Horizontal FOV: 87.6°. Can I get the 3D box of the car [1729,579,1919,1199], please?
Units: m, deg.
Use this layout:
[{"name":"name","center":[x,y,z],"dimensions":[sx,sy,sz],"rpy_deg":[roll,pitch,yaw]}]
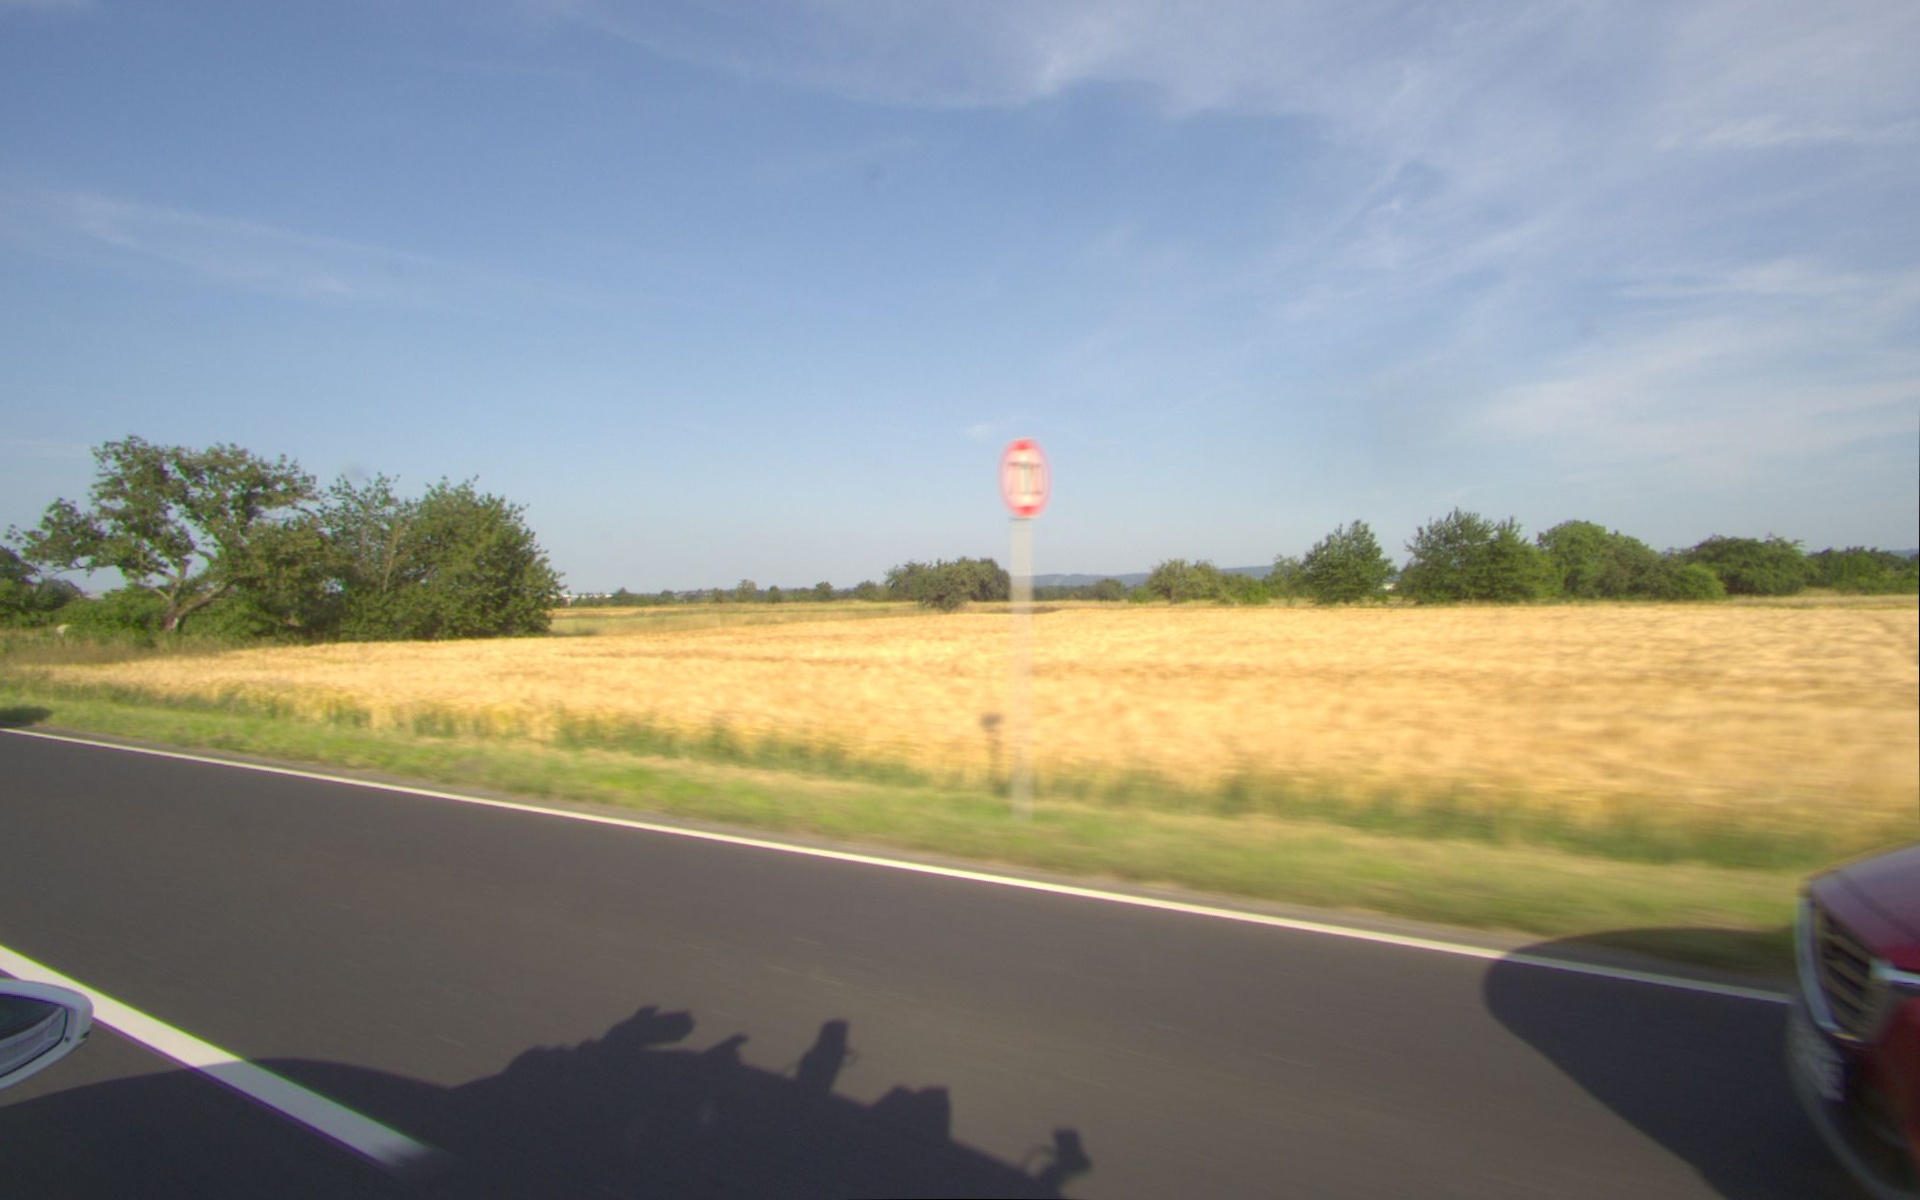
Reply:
[{"name":"car","center":[4.016,0.695,1.427],"dimensions":[4.436,1.525,1.702],"rpy_deg":[-2,-2,32]}]
